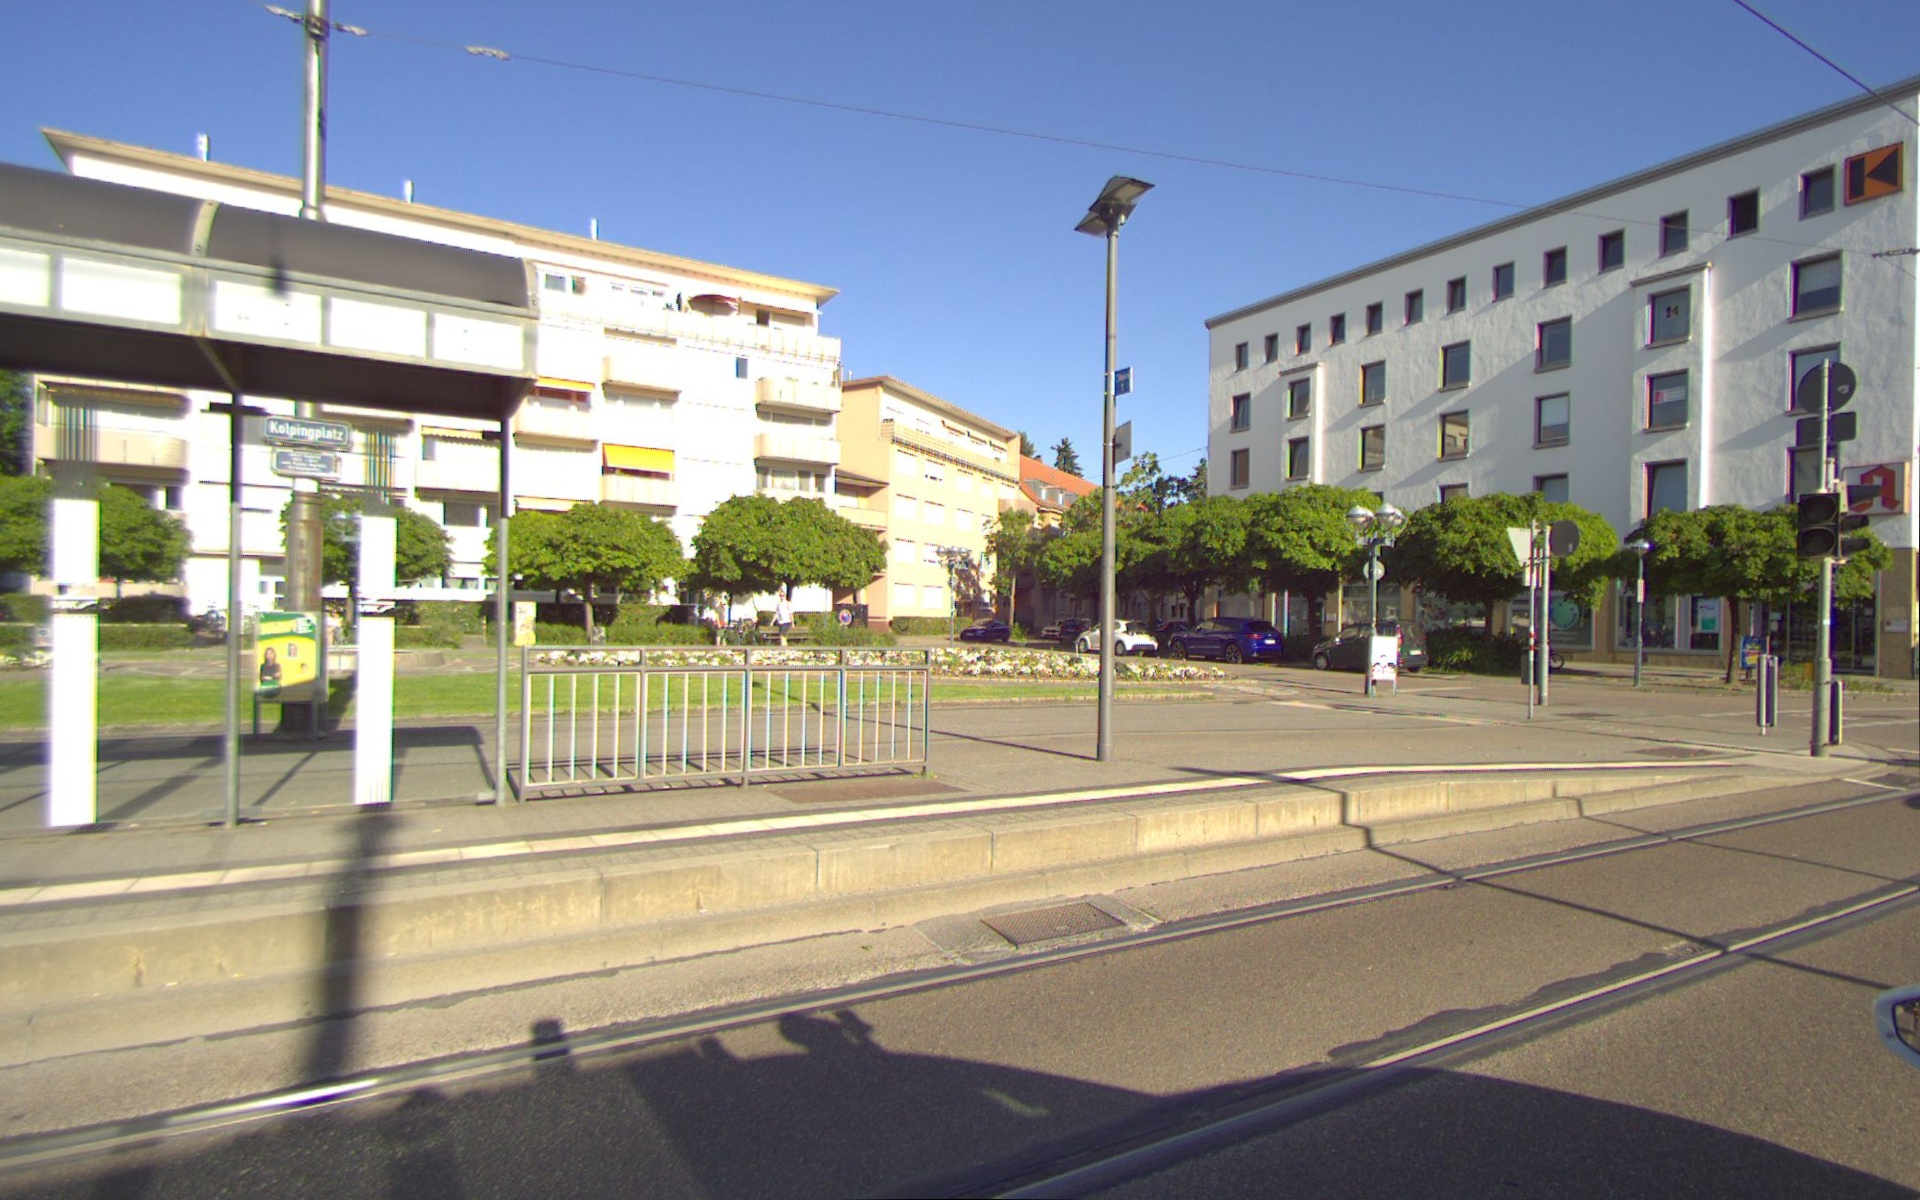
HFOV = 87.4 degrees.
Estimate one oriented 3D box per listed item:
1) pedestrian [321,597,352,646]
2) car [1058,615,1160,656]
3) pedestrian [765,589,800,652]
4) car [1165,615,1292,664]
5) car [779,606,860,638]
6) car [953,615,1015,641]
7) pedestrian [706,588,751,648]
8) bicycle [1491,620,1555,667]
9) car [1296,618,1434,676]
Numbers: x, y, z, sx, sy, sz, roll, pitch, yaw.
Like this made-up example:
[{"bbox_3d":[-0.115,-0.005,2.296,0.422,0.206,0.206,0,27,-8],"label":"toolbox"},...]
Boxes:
[{"bbox_3d":[-18.008,0.625,29.007,0.673,1.378,1.042,2,-1,-34],"label":"pedestrian"},{"bbox_3d":[6.366,1.499,43.320,1.835,1.628,4.581,2,-1,-31],"label":"car"},{"bbox_3d":[-5.308,0.602,30.037,0.856,1.841,0.944,1,-1,-19],"label":"pedestrian"},{"bbox_3d":[10.113,1.476,38.218,1.978,1.684,4.581,2,-1,-31],"label":"car"},{"bbox_3d":[-6.374,1.021,45.618,3.271,1.372,1.638,2,-1,-29],"label":"car"},{"bbox_3d":[1.535,1.746,62.493,1.887,1.514,4.343,2,0,31],"label":"car"},{"bbox_3d":[-8.068,0.620,34.981,1.219,2.040,1.214,2,-1,-30],"label":"pedestrian"},{"bbox_3d":[20.130,1.548,35.887,2.585,1.628,0.616,2,-1,-26],"label":"bicycle"},{"bbox_3d":[13.311,1.506,33.227,1.804,1.728,3.968,2,-1,-30],"label":"car"}]
